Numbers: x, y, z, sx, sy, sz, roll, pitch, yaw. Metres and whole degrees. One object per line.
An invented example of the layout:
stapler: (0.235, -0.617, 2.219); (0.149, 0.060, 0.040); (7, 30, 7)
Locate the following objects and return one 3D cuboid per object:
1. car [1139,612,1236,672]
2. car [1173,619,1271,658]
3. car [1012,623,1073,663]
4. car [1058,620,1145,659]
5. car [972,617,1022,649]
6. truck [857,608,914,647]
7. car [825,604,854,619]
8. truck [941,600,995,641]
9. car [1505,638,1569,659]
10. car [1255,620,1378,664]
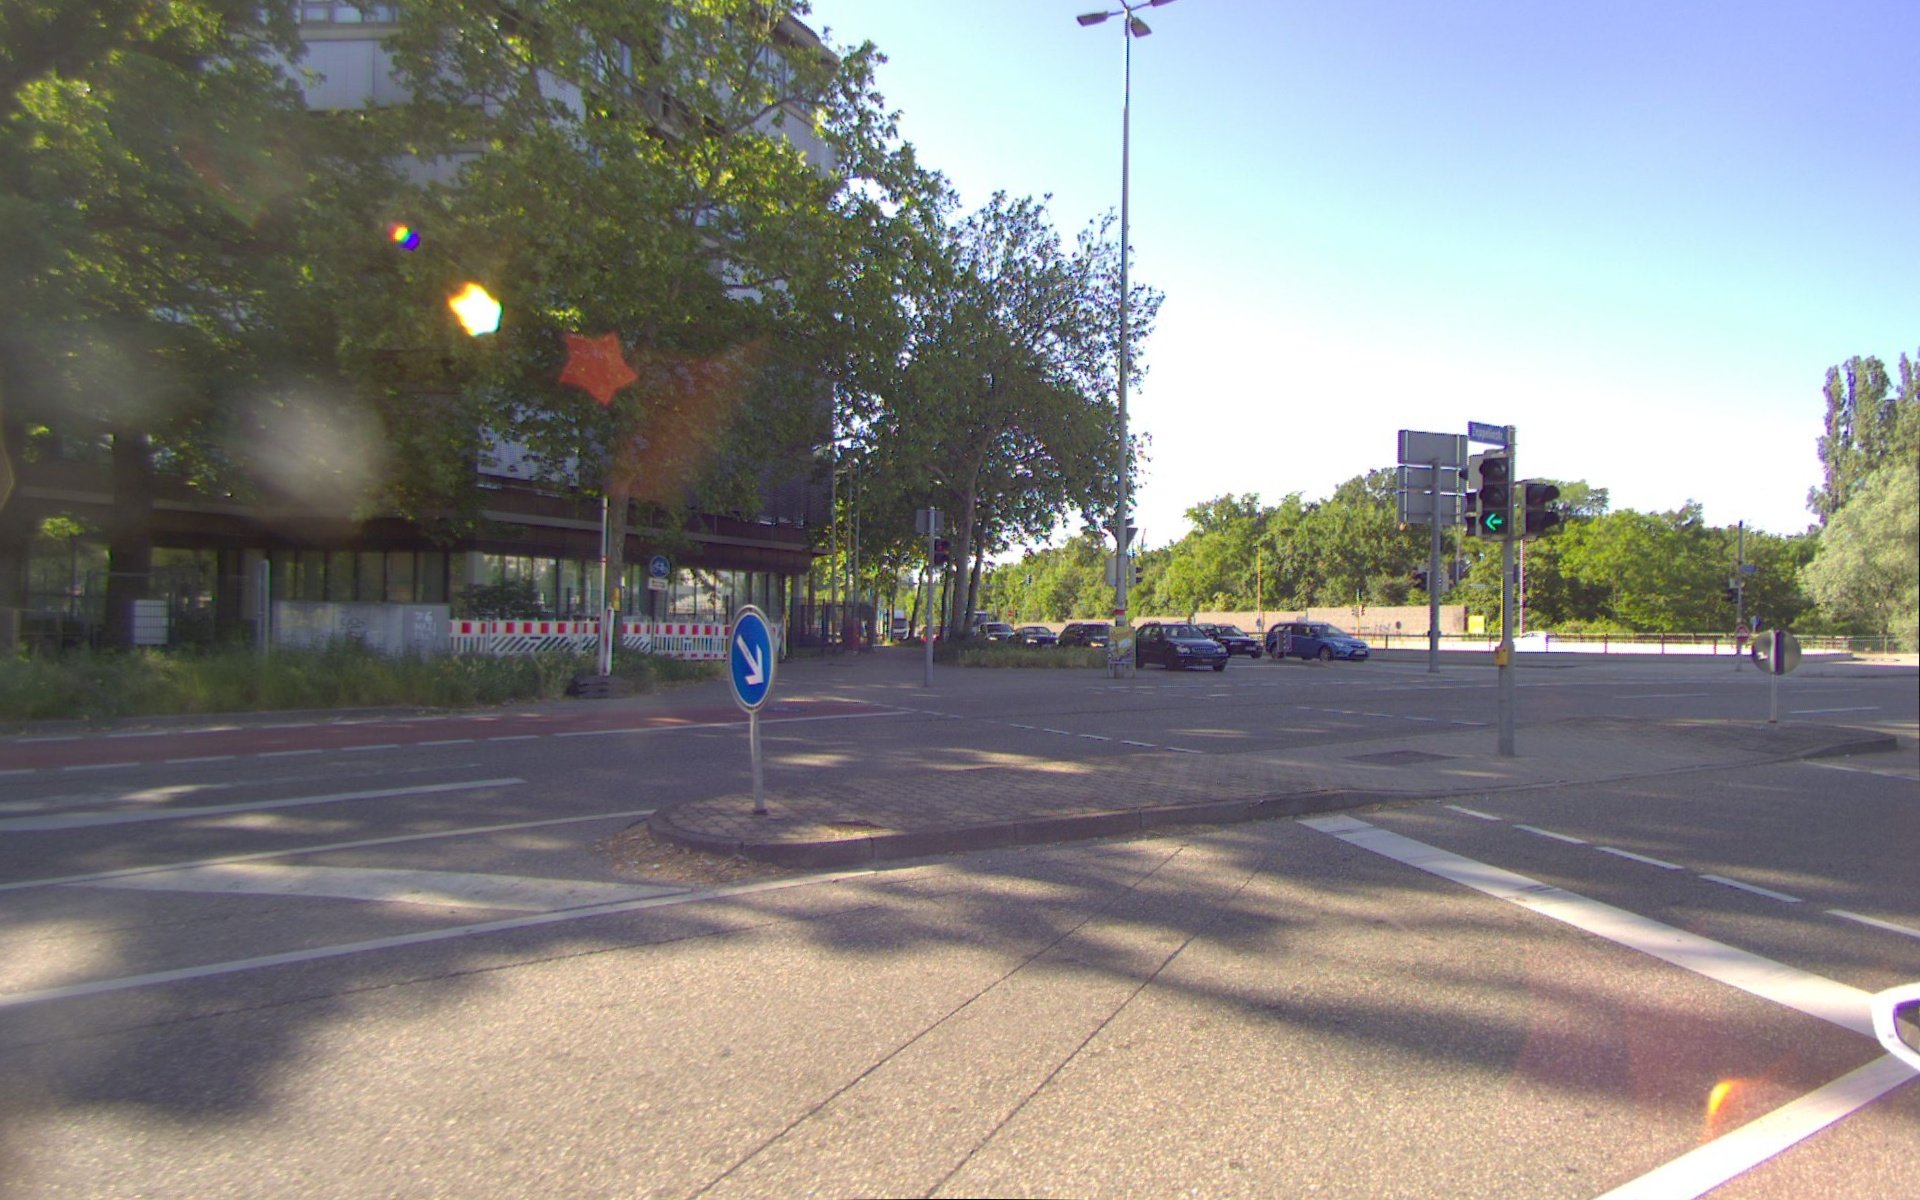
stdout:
car: (6.828, 1.227, 30.671); (1.913, 1.643, 4.786); (1, -1, 0)
car: (11.385, 1.653, 43.965); (1.923, 1.561, 4.435); (1, -1, -22)
car: (3.799, 1.989, 47.067); (1.783, 1.722, 4.188); (1, -1, -11)
car: (5.414, 1.502, 39.017); (1.848, 1.376, 4.498); (1, -1, -13)
car: (1.958, 1.768, 54.470); (1.846, 1.666, 4.502); (1, -1, -9)
truck: (-8.039, 2.869, 106.747); (3.794, 3.847, 9.302); (1, 0, -19)
car: (-14.195, 1.329, 118.275); (1.794, 1.722, 4.162); (1, -1, -30)
truck: (0.419, 1.290, 62.841); (2.125, 2.391, 7.503); (1, -1, -9)
car: (44.281, 3.699, 77.173); (1.967, 1.528, 3.987); (1, -1, -16)
car: (13.598, 1.570, 38.599); (1.925, 1.561, 4.431); (1, -1, -25)
